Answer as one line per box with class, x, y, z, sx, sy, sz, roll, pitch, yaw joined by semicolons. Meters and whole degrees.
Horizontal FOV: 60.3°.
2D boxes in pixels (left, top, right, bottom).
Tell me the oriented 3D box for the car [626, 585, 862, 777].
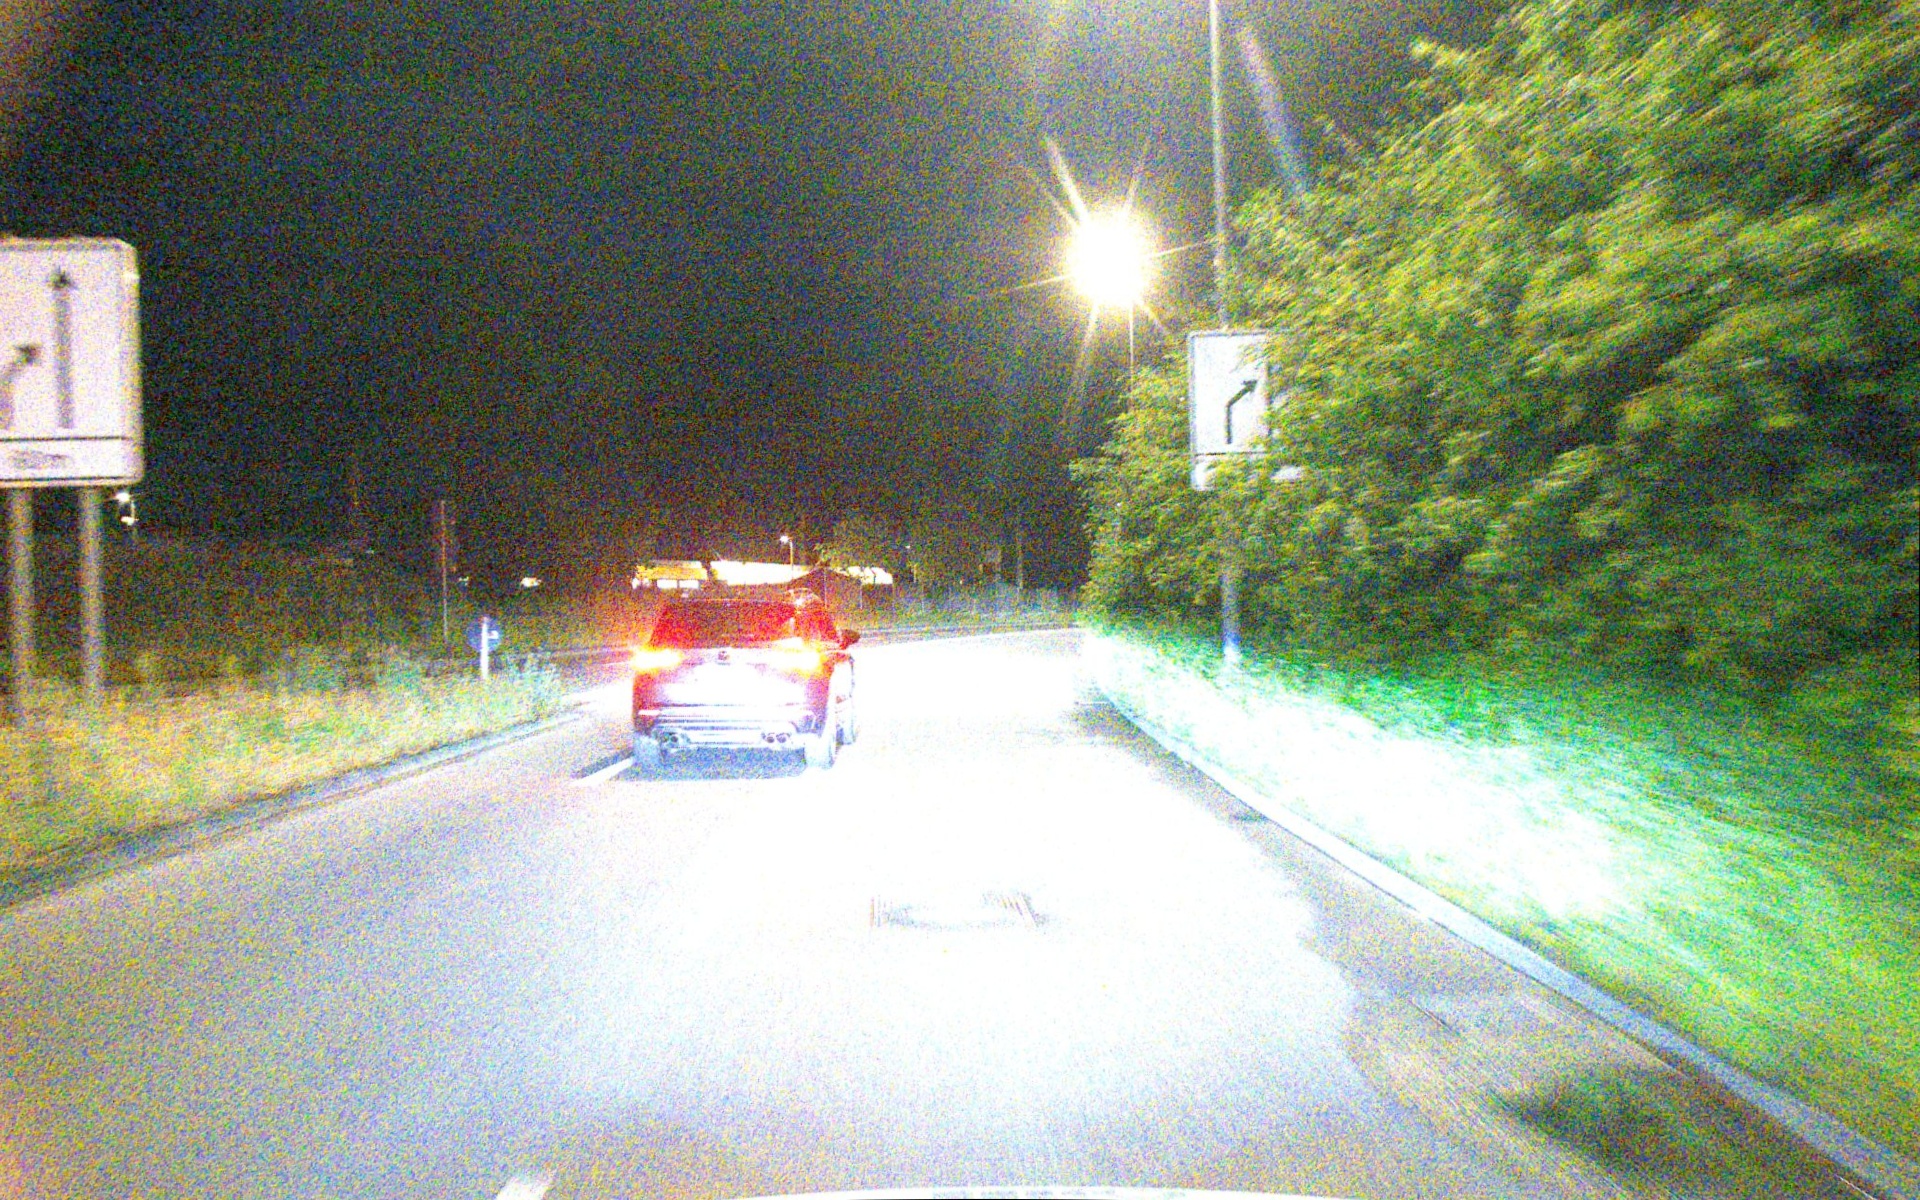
car;-1.930;0.676;15.904;1.814;1.610;4.006;0;0;-1
